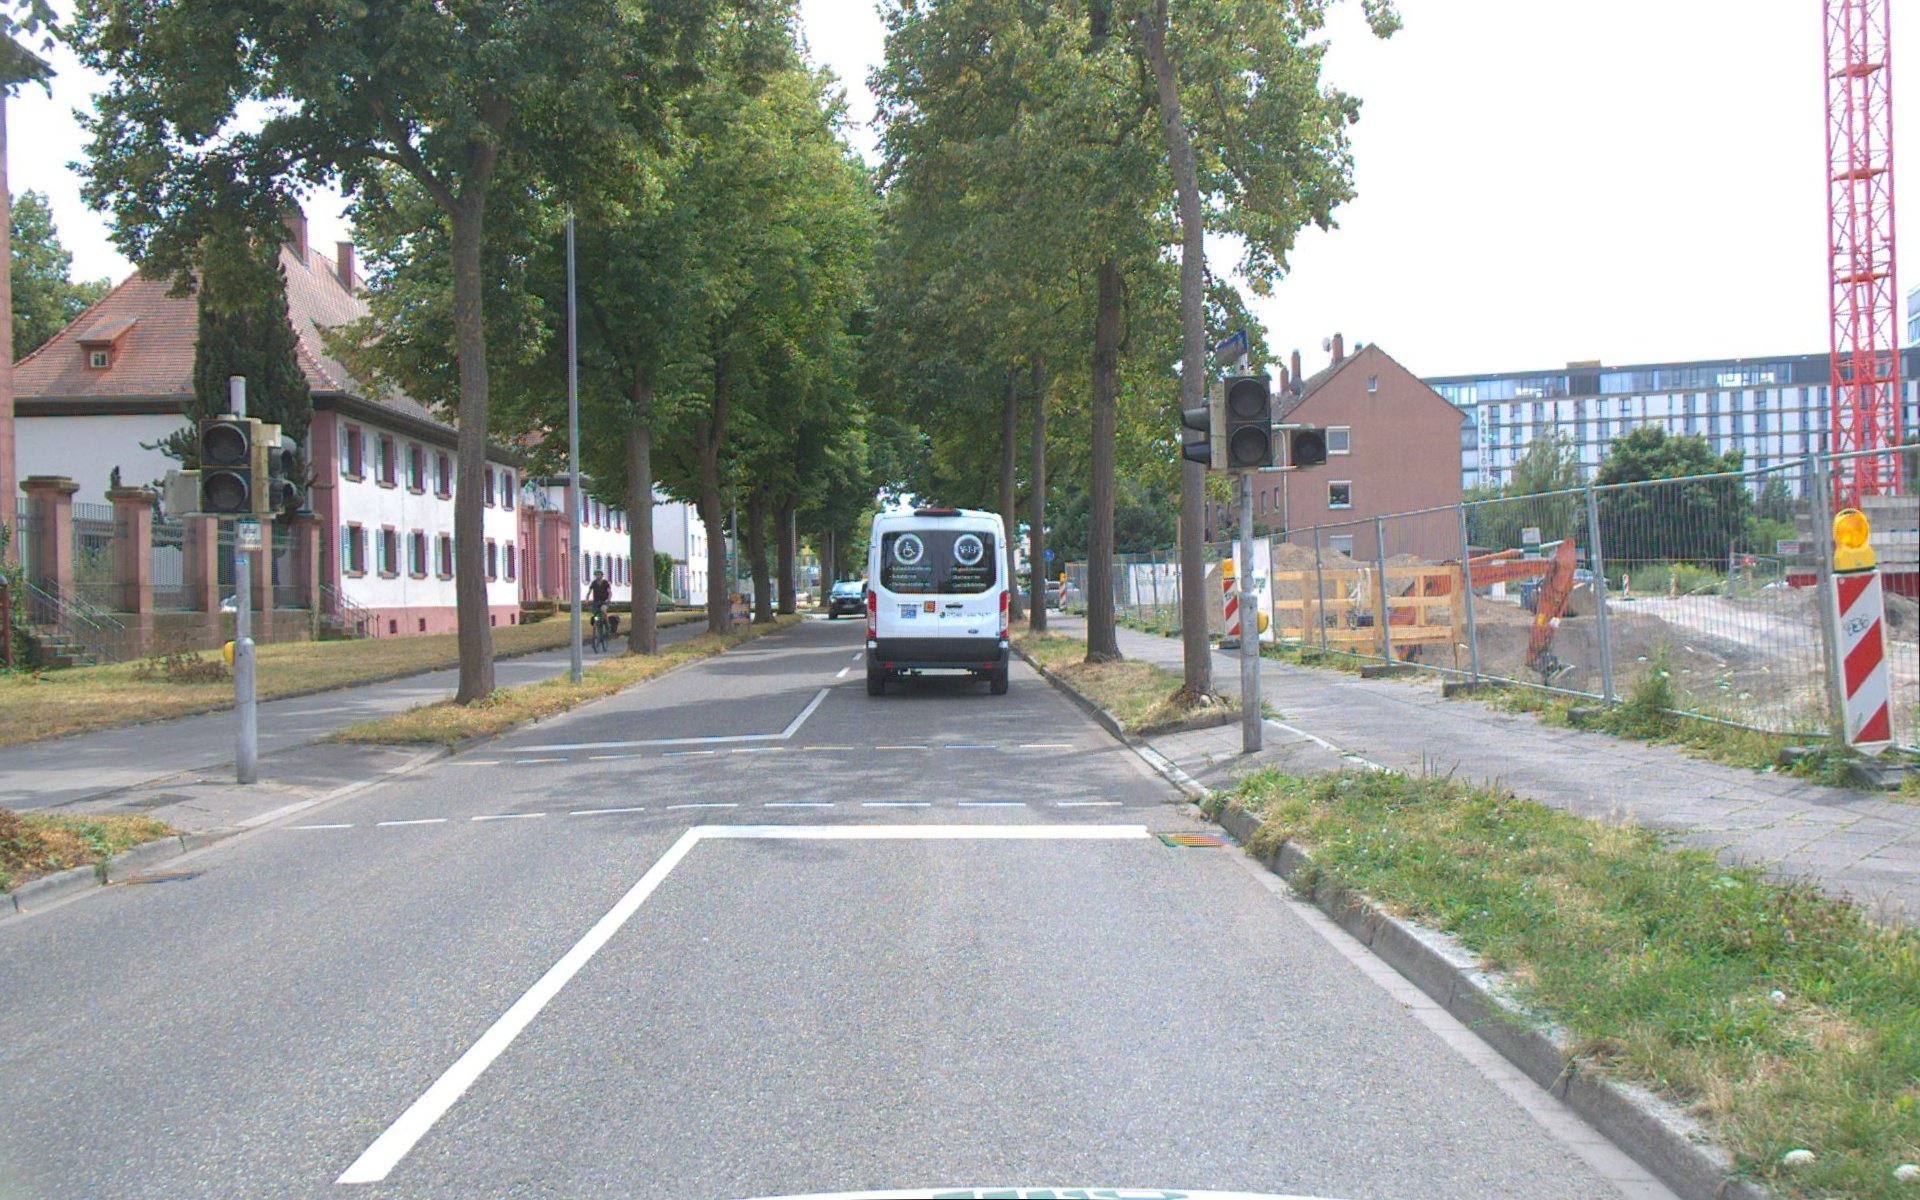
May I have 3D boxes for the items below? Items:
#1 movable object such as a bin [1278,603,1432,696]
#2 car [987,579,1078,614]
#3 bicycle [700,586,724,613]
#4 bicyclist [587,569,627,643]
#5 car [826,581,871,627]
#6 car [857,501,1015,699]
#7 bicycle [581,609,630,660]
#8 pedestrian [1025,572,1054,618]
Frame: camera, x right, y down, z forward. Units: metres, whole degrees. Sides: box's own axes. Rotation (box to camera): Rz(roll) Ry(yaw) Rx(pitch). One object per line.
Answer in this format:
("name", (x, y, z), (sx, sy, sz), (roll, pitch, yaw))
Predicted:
("movable object such as a bin", (12.831, 1.588, 53.898), (4.583, 2.634, 3.135), (-3, 0, 13))
("car", (3.494, -0.174, 80.360), (4.282, 1.468, 2.011), (-2, -2, 0))
("bicycle", (-10.851, -0.024, 72.421), (0.708, 1.114, 2.225), (2, 1, -2))
("bicyclist", (-8.250, 0.134, 38.675), (0.708, 1.685, 0.958), (2, 0, -2))
("car", (-4.691, 0.146, 70.009), (1.736, 1.687, 4.255), (-3, 2, -2))
("car", (-0.434, -0.006, 23.840), (2.022, 2.584, 3.996), (-1, 0, -4))
("bicycle", (-8.269, 0.788, 38.652), (0.708, 1.114, 2.151), (2, 1, -2))
("pedestrian", (3.261, -0.208, 67.870), (0.864, 1.846, 0.889), (-3, 0, 17))
